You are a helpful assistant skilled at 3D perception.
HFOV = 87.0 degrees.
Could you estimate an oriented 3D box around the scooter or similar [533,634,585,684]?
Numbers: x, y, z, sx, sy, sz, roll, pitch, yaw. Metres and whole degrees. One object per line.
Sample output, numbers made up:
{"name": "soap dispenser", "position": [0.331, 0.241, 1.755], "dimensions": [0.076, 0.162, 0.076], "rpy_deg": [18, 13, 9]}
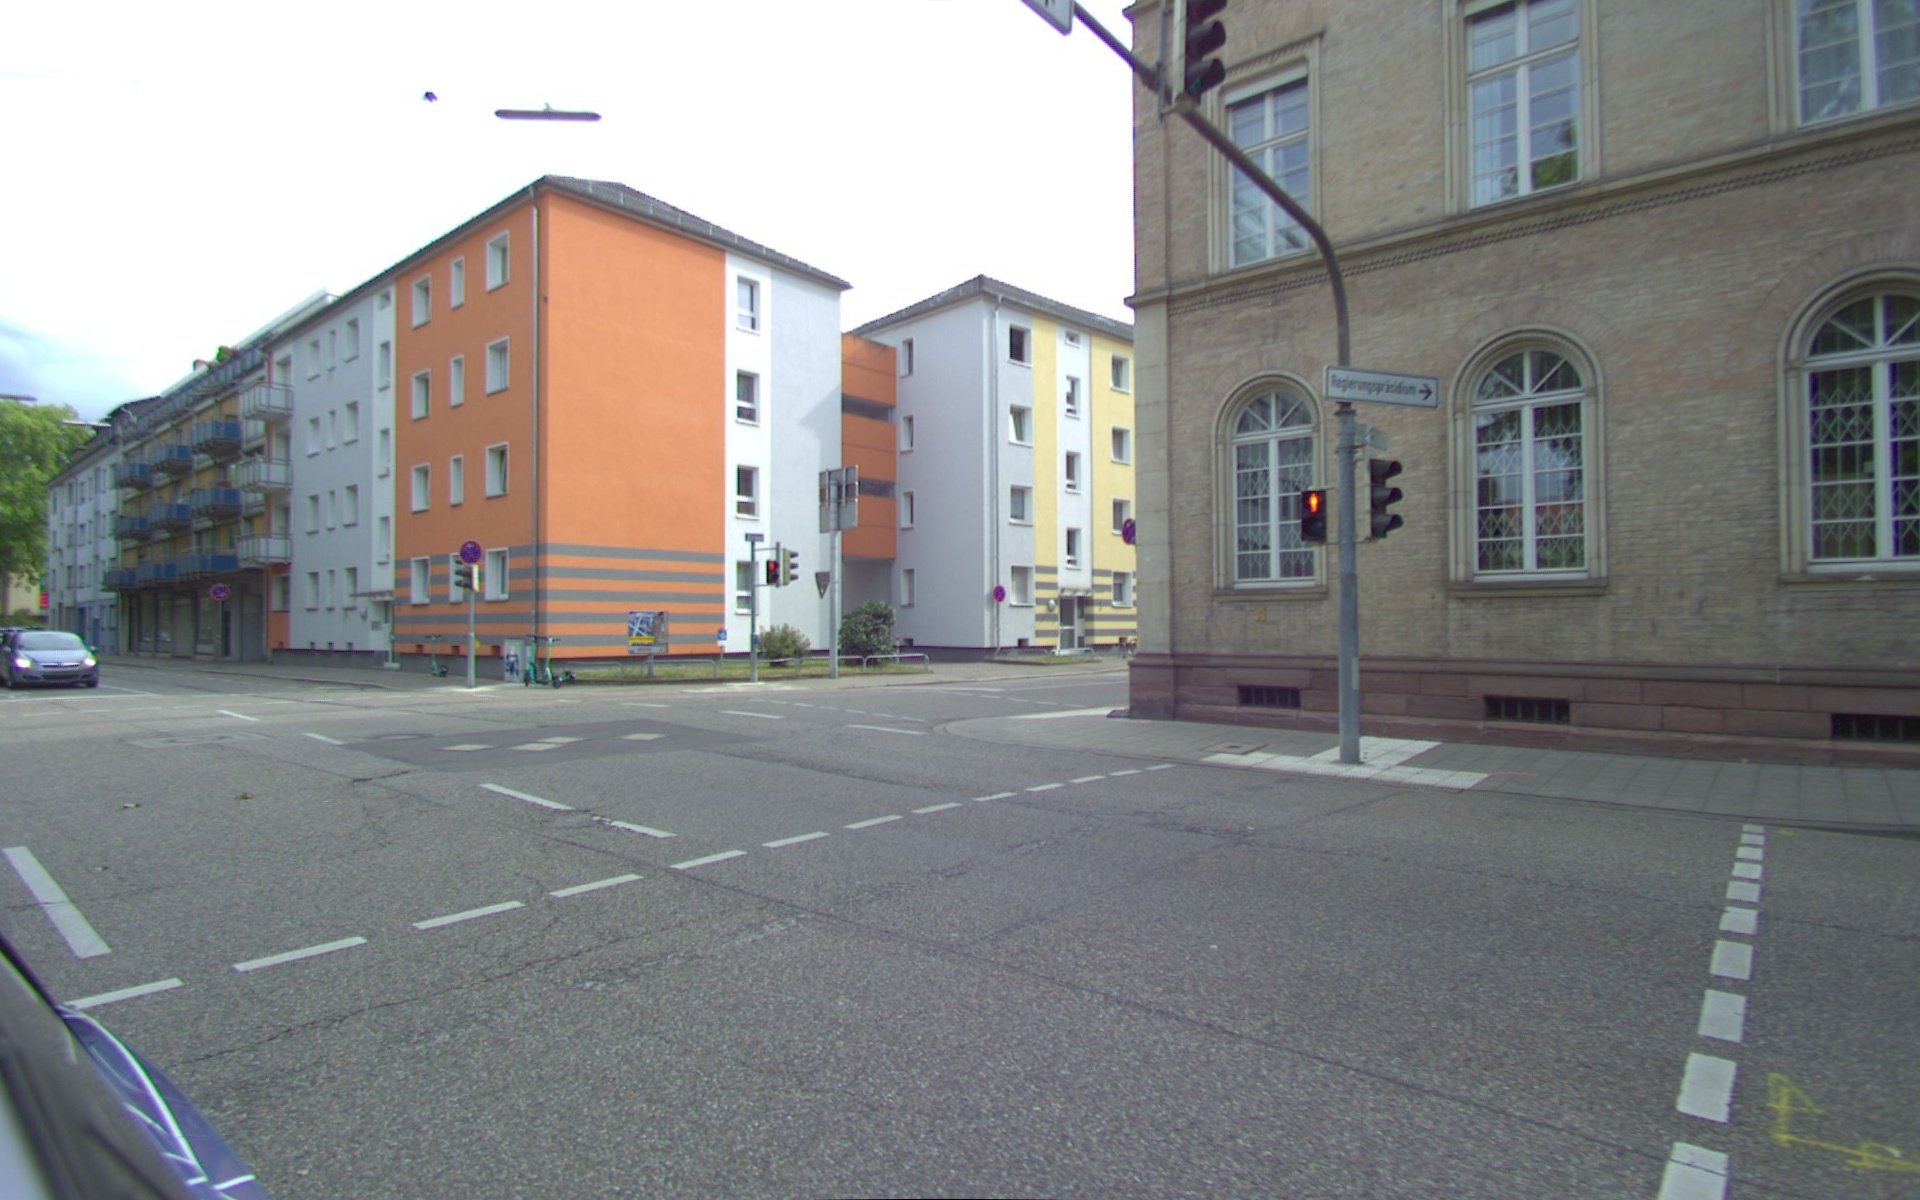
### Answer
{"name": "scooter or similar", "position": [-9.602, 1.403, 24.218], "dimensions": [1.348, 1.166, 0.327], "rpy_deg": [-2, -1, 28]}

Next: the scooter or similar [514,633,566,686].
{"name": "scooter or similar", "position": [-9.772, 1.388, 23.543], "dimensions": [1.337, 1.188, 0.327], "rpy_deg": [-2, -1, 28]}

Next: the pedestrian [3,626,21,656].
{"name": "pedestrian", "position": [-64.941, 2.787, 69.316], "dimensions": [0.831, 2.029, 0.875], "rpy_deg": [-1, -1, -45]}

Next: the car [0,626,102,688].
{"name": "car", "position": [-23.334, 1.420, 25.806], "dimensions": [3.818, 1.450, 1.651], "rpy_deg": [-2, -2, 41]}

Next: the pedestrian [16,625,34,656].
{"name": "pedestrian", "position": [-63.126, 2.722, 68.308], "dimensions": [0.831, 2.029, 0.875], "rpy_deg": [-1, -1, -45]}

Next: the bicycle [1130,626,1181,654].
{"name": "bicycle", "position": [7.282, 1.483, 37.715], "dimensions": [1.867, 1.019, 0.554], "rpy_deg": [-2, -1, 45]}

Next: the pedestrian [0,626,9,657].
{"name": "pedestrian", "position": [-63.905, 2.743, 67.348], "dimensions": [0.831, 2.029, 0.875], "rpy_deg": [-1, -1, -45]}

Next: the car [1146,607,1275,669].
{"name": "car", "position": [7.485, 1.080, 30.046], "dimensions": [3.941, 1.612, 1.900], "rpy_deg": [-2, 0, -44]}

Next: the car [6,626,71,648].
{"name": "car", "position": [-77.865, 3.138, 85.537], "dimensions": [1.881, 1.701, 3.821], "rpy_deg": [-2, 0, 40]}

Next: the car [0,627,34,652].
{"name": "car", "position": [-82.497, 3.440, 87.023], "dimensions": [1.999, 2.029, 3.946], "rpy_deg": [-2, 0, 40]}

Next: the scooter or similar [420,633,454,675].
{"name": "scooter or similar", "position": [-14.658, 1.502, 28.354], "dimensions": [1.353, 1.133, 0.364], "rpy_deg": [-2, -1, 42]}

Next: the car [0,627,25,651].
{"name": "car", "position": [-84.727, 3.472, 88.670], "dimensions": [1.999, 2.029, 3.946], "rpy_deg": [-2, 0, 40]}

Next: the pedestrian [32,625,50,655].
{"name": "pedestrian", "position": [-62.813, 2.716, 69.145], "dimensions": [0.831, 2.029, 0.875], "rpy_deg": [-1, -1, -45]}

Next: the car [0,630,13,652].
{"name": "car", "position": [-91.494, 3.950, 94.768], "dimensions": [1.999, 2.029, 3.946], "rpy_deg": [-2, 0, 40]}

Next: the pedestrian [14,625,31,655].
{"name": "pedestrian", "position": [-64.902, 2.789, 70.064], "dimensions": [0.831, 2.029, 0.875], "rpy_deg": [-1, -1, -45]}
